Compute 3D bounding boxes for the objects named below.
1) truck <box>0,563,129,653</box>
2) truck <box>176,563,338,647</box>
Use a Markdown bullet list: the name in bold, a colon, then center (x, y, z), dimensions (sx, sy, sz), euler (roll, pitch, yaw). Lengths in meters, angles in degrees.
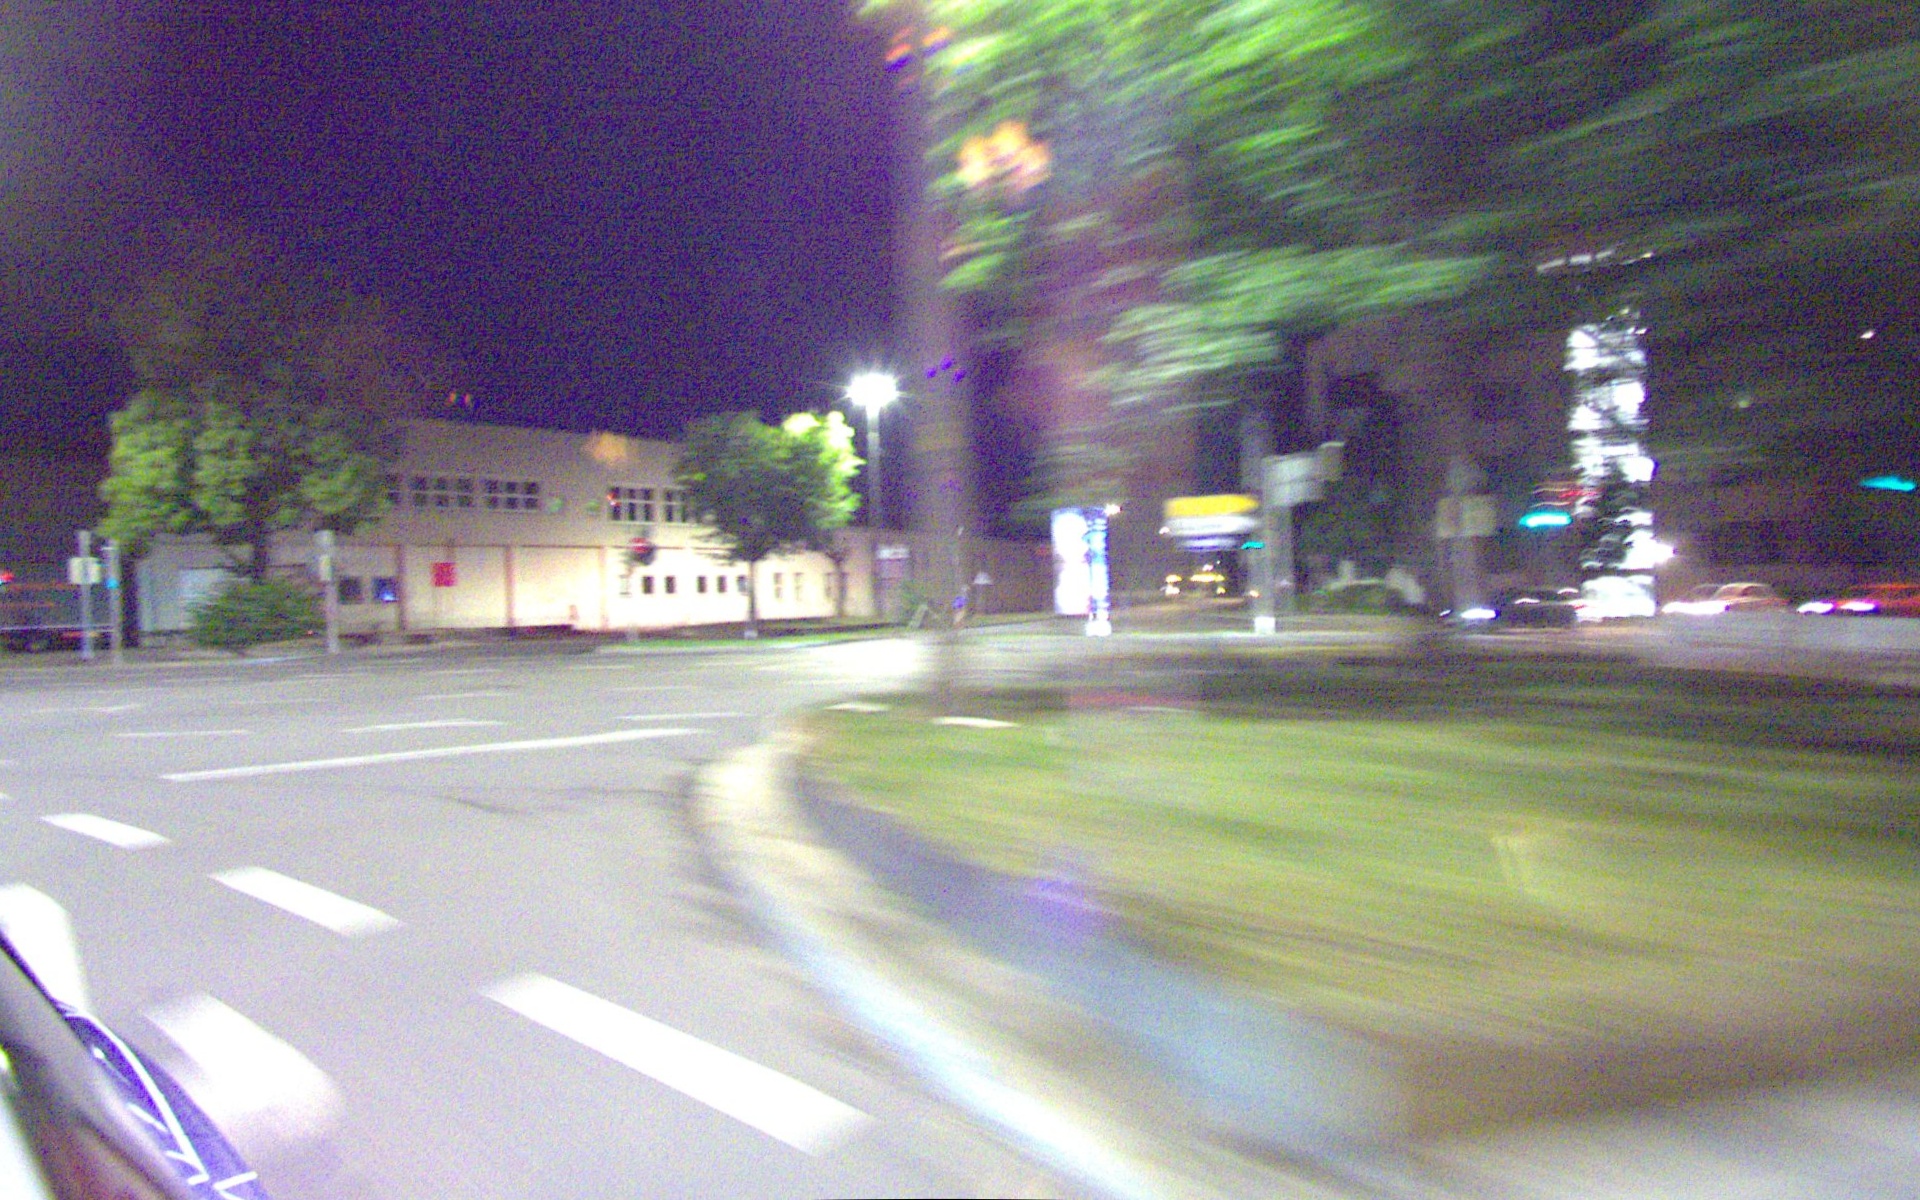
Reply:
- **truck**: center (-41.214, 0.374, 42.735), dimensions (9.200, 3.750, 2.006), euler (-2, 0, -31)
- **truck**: center (-33.407, 0.160, 48.315), dimensions (6.104, 3.721, 2.408), euler (-2, 1, -35)
